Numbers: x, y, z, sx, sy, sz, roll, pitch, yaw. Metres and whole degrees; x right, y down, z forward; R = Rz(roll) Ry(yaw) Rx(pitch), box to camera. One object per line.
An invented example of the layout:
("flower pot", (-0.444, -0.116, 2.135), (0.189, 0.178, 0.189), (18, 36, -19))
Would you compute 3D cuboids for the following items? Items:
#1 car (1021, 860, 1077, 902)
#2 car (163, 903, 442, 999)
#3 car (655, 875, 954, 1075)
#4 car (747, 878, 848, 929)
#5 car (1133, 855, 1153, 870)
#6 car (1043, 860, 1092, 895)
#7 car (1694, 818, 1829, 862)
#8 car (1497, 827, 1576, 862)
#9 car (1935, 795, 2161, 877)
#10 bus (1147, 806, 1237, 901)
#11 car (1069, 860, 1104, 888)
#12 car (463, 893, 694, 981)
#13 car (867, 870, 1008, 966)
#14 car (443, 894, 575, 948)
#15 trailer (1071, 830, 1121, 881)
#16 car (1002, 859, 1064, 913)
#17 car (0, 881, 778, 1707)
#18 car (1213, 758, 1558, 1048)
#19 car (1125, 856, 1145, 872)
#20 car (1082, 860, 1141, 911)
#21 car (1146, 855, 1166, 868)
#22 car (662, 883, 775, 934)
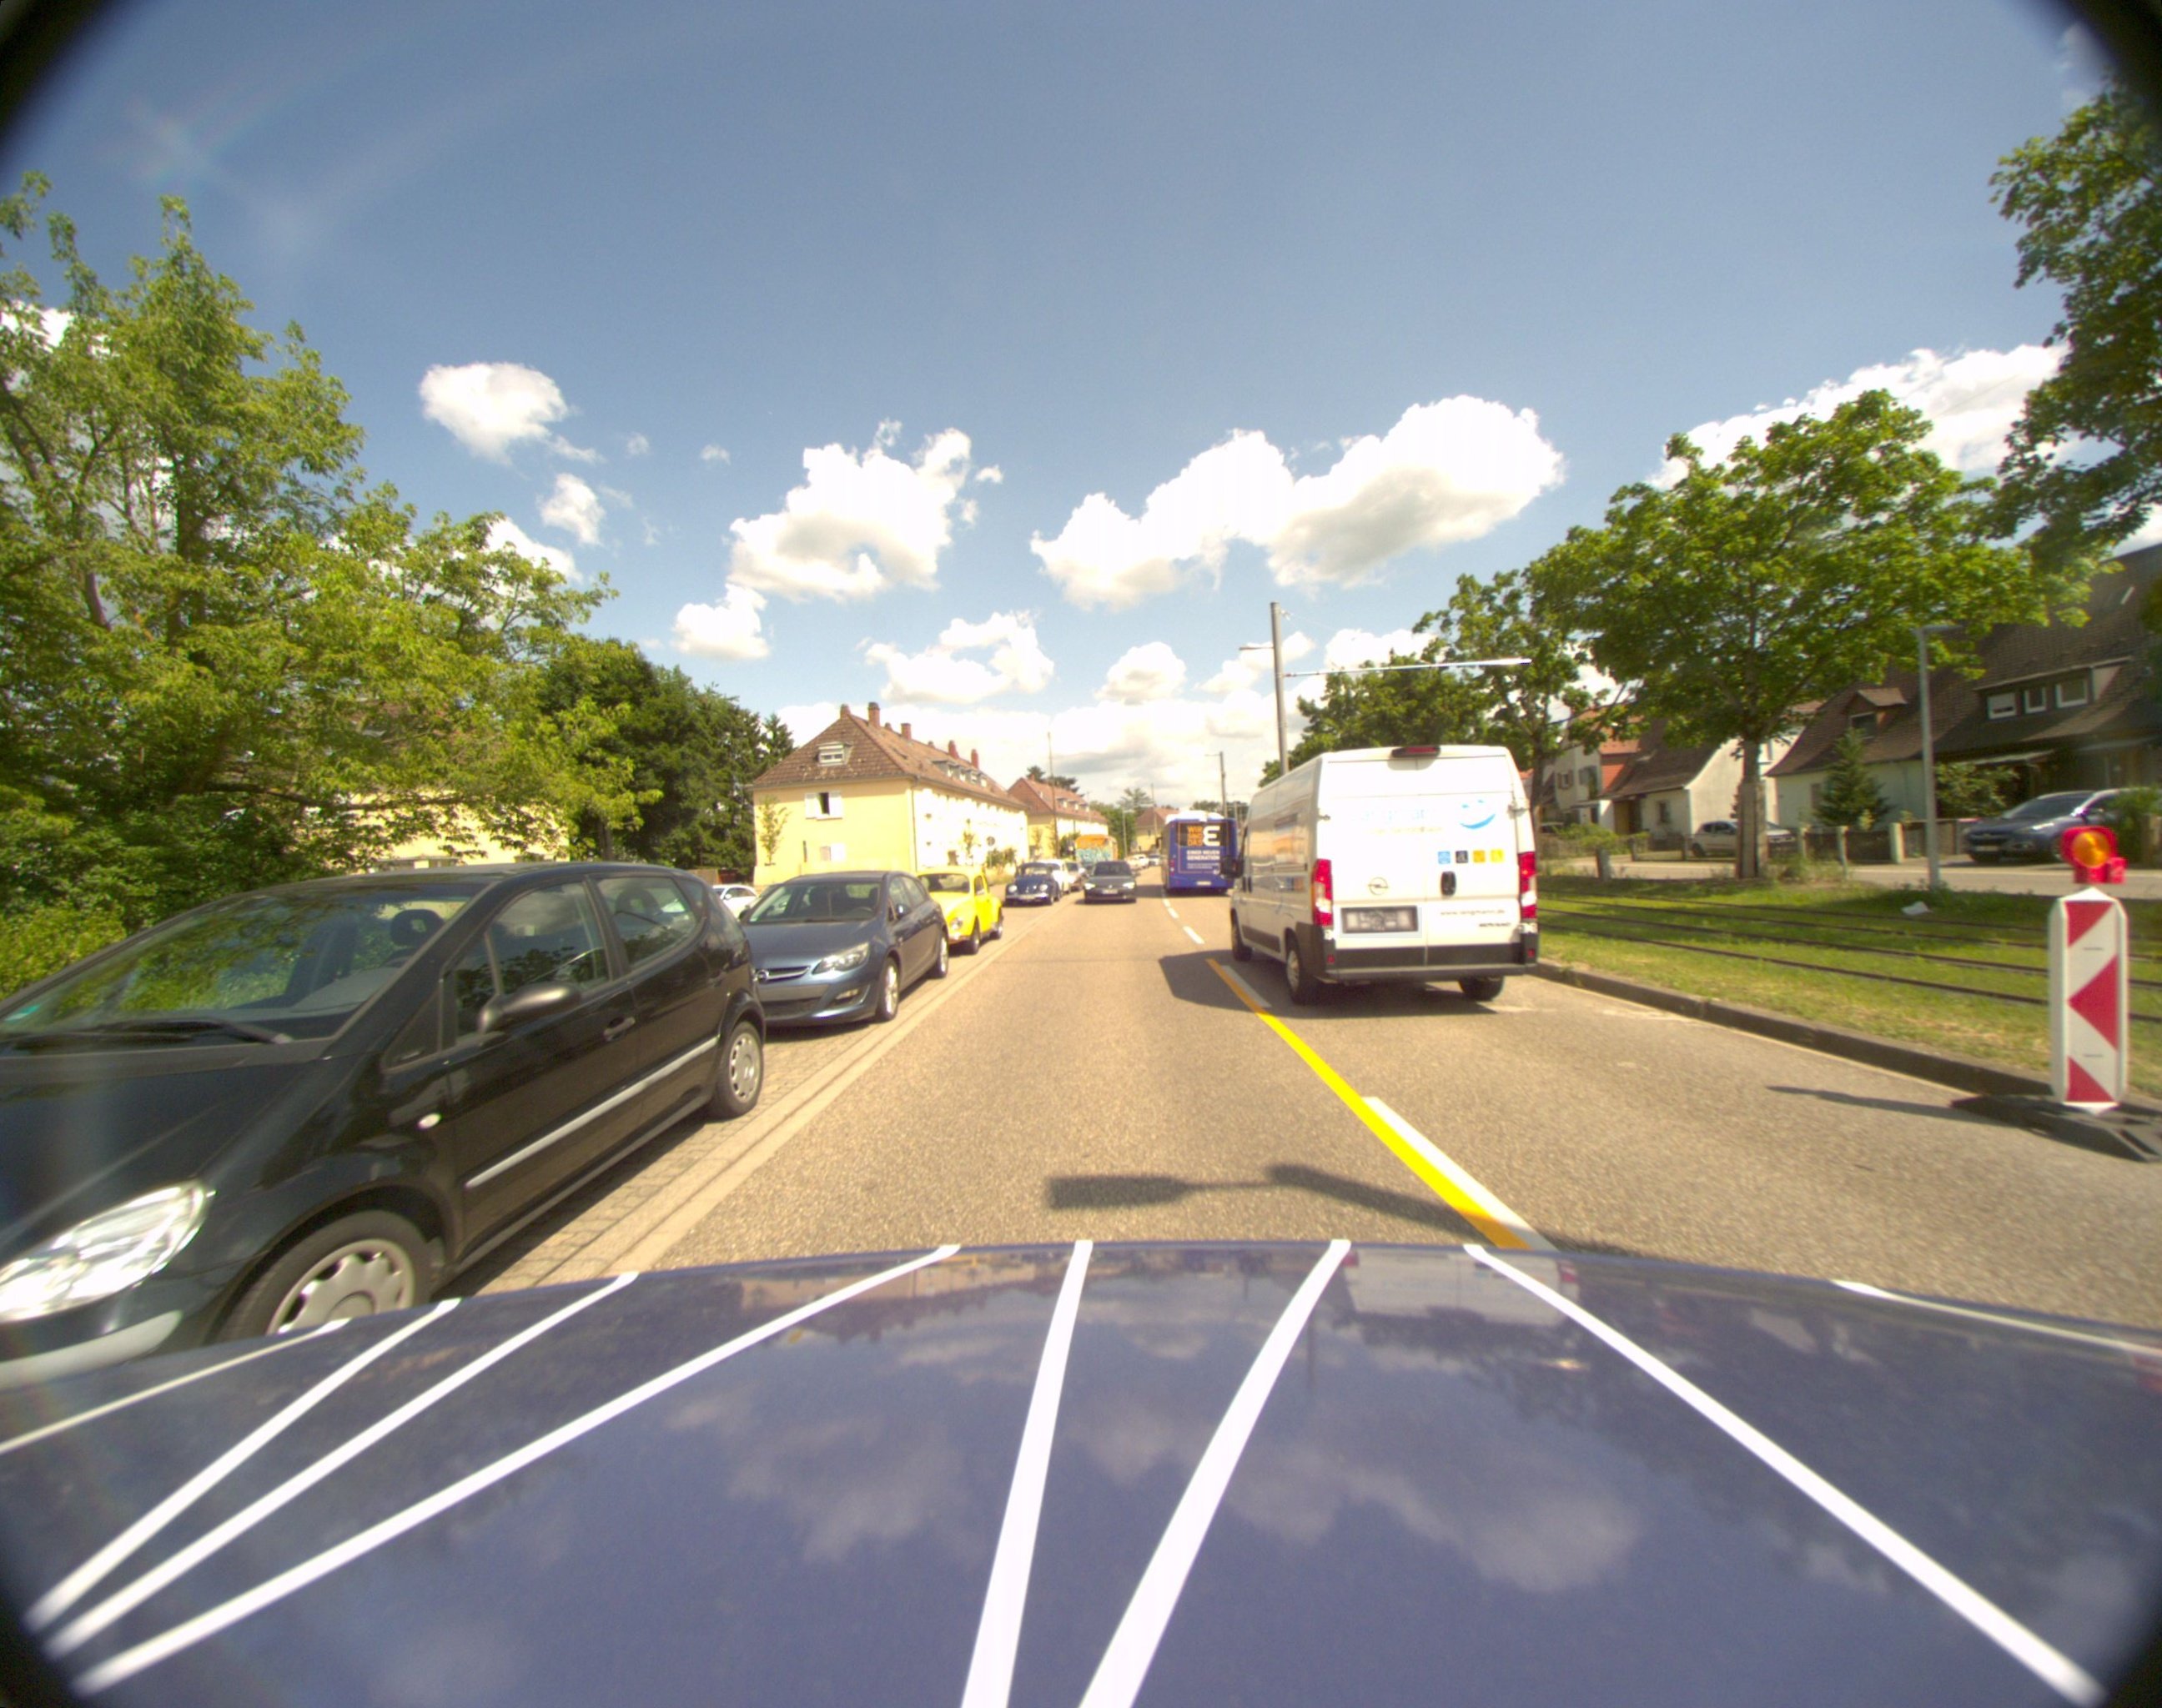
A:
("car", (-1.239, 1.072, 31.590), (1.580, 1.504, 4.461), (-3, 0, 6))
("car", (-16.480, 1.963, 16.439), (1.639, 1.538, 4.089), (0, 0, 5))
("car", (-2.638, 1.063, 8.358), (1.640, 1.473, 4.125), (-3, 0, 1))
("car", (-9.334, 1.592, 25.372), (1.640, 1.366, 4.088), (-3, 0, 2))
("car", (6.603, 0.841, 80.577), (1.530, 1.472, 3.813), (-2, 0, 13))
("car", (-0.575, 1.093, 36.648), (1.710, 1.440, 4.837), (-3, 0, 6))
("car", (26.471, -0.504, 29.761), (1.732, 1.509, 4.045), (-3, 0, 3))
("car", (28.765, -0.582, 47.983), (3.897, 1.886, 1.941), (-5, 0, -12))
("car", (25.386, -0.473, 19.498), (4.481, 1.825, 2.065), (-3, 0, 2))
("bus", (4.574, 0.017, 33.739), (2.642, 3.392, 12.251), (-1, 0, 2))
("car", (0.372, 1.135, 44.483), (1.580, 1.440, 4.455), (-3, 0, 6))
("car", (-10.298, 1.634, 16.004), (1.639, 1.347, 4.091), (-3, 0, 10))
("car", (-2.436, 1.039, 13.878), (1.640, 1.473, 3.933), (0, -1, 3))
("car", (-19.052, 2.170, 25.550), (1.641, 1.366, 4.086), (-5, 0, -7))
("trailer", (1.111, 0.083, 52.260), (2.695, 3.207, 5.084), (-3, 0, 7))
("car", (-1.587, 1.050, 26.456), (1.552, 1.631, 4.247), (-3, 0, 3))
("car", (-2.930, 1.015, 3.290), (1.640, 1.593, 3.931), (-3, 0, -1))
("car", (3.139, 0.436, 9.425), (2.107, 2.429, 5.572), (-3, 0, 2))
("car", (5.301, 0.953, 74.238), (1.465, 1.493, 4.112), (-2, 0, 10))
("car", (1.133, 1.019, 26.379), (1.742, 1.513, 4.703), (-1, 1, 6))
("car", (9.067, 0.893, 91.591), (1.752, 1.489, 4.390), (-2, 0, 13))
("car", (-12.036, 1.757, 25.535), (1.640, 1.366, 4.088), (-3, 0, 2))
